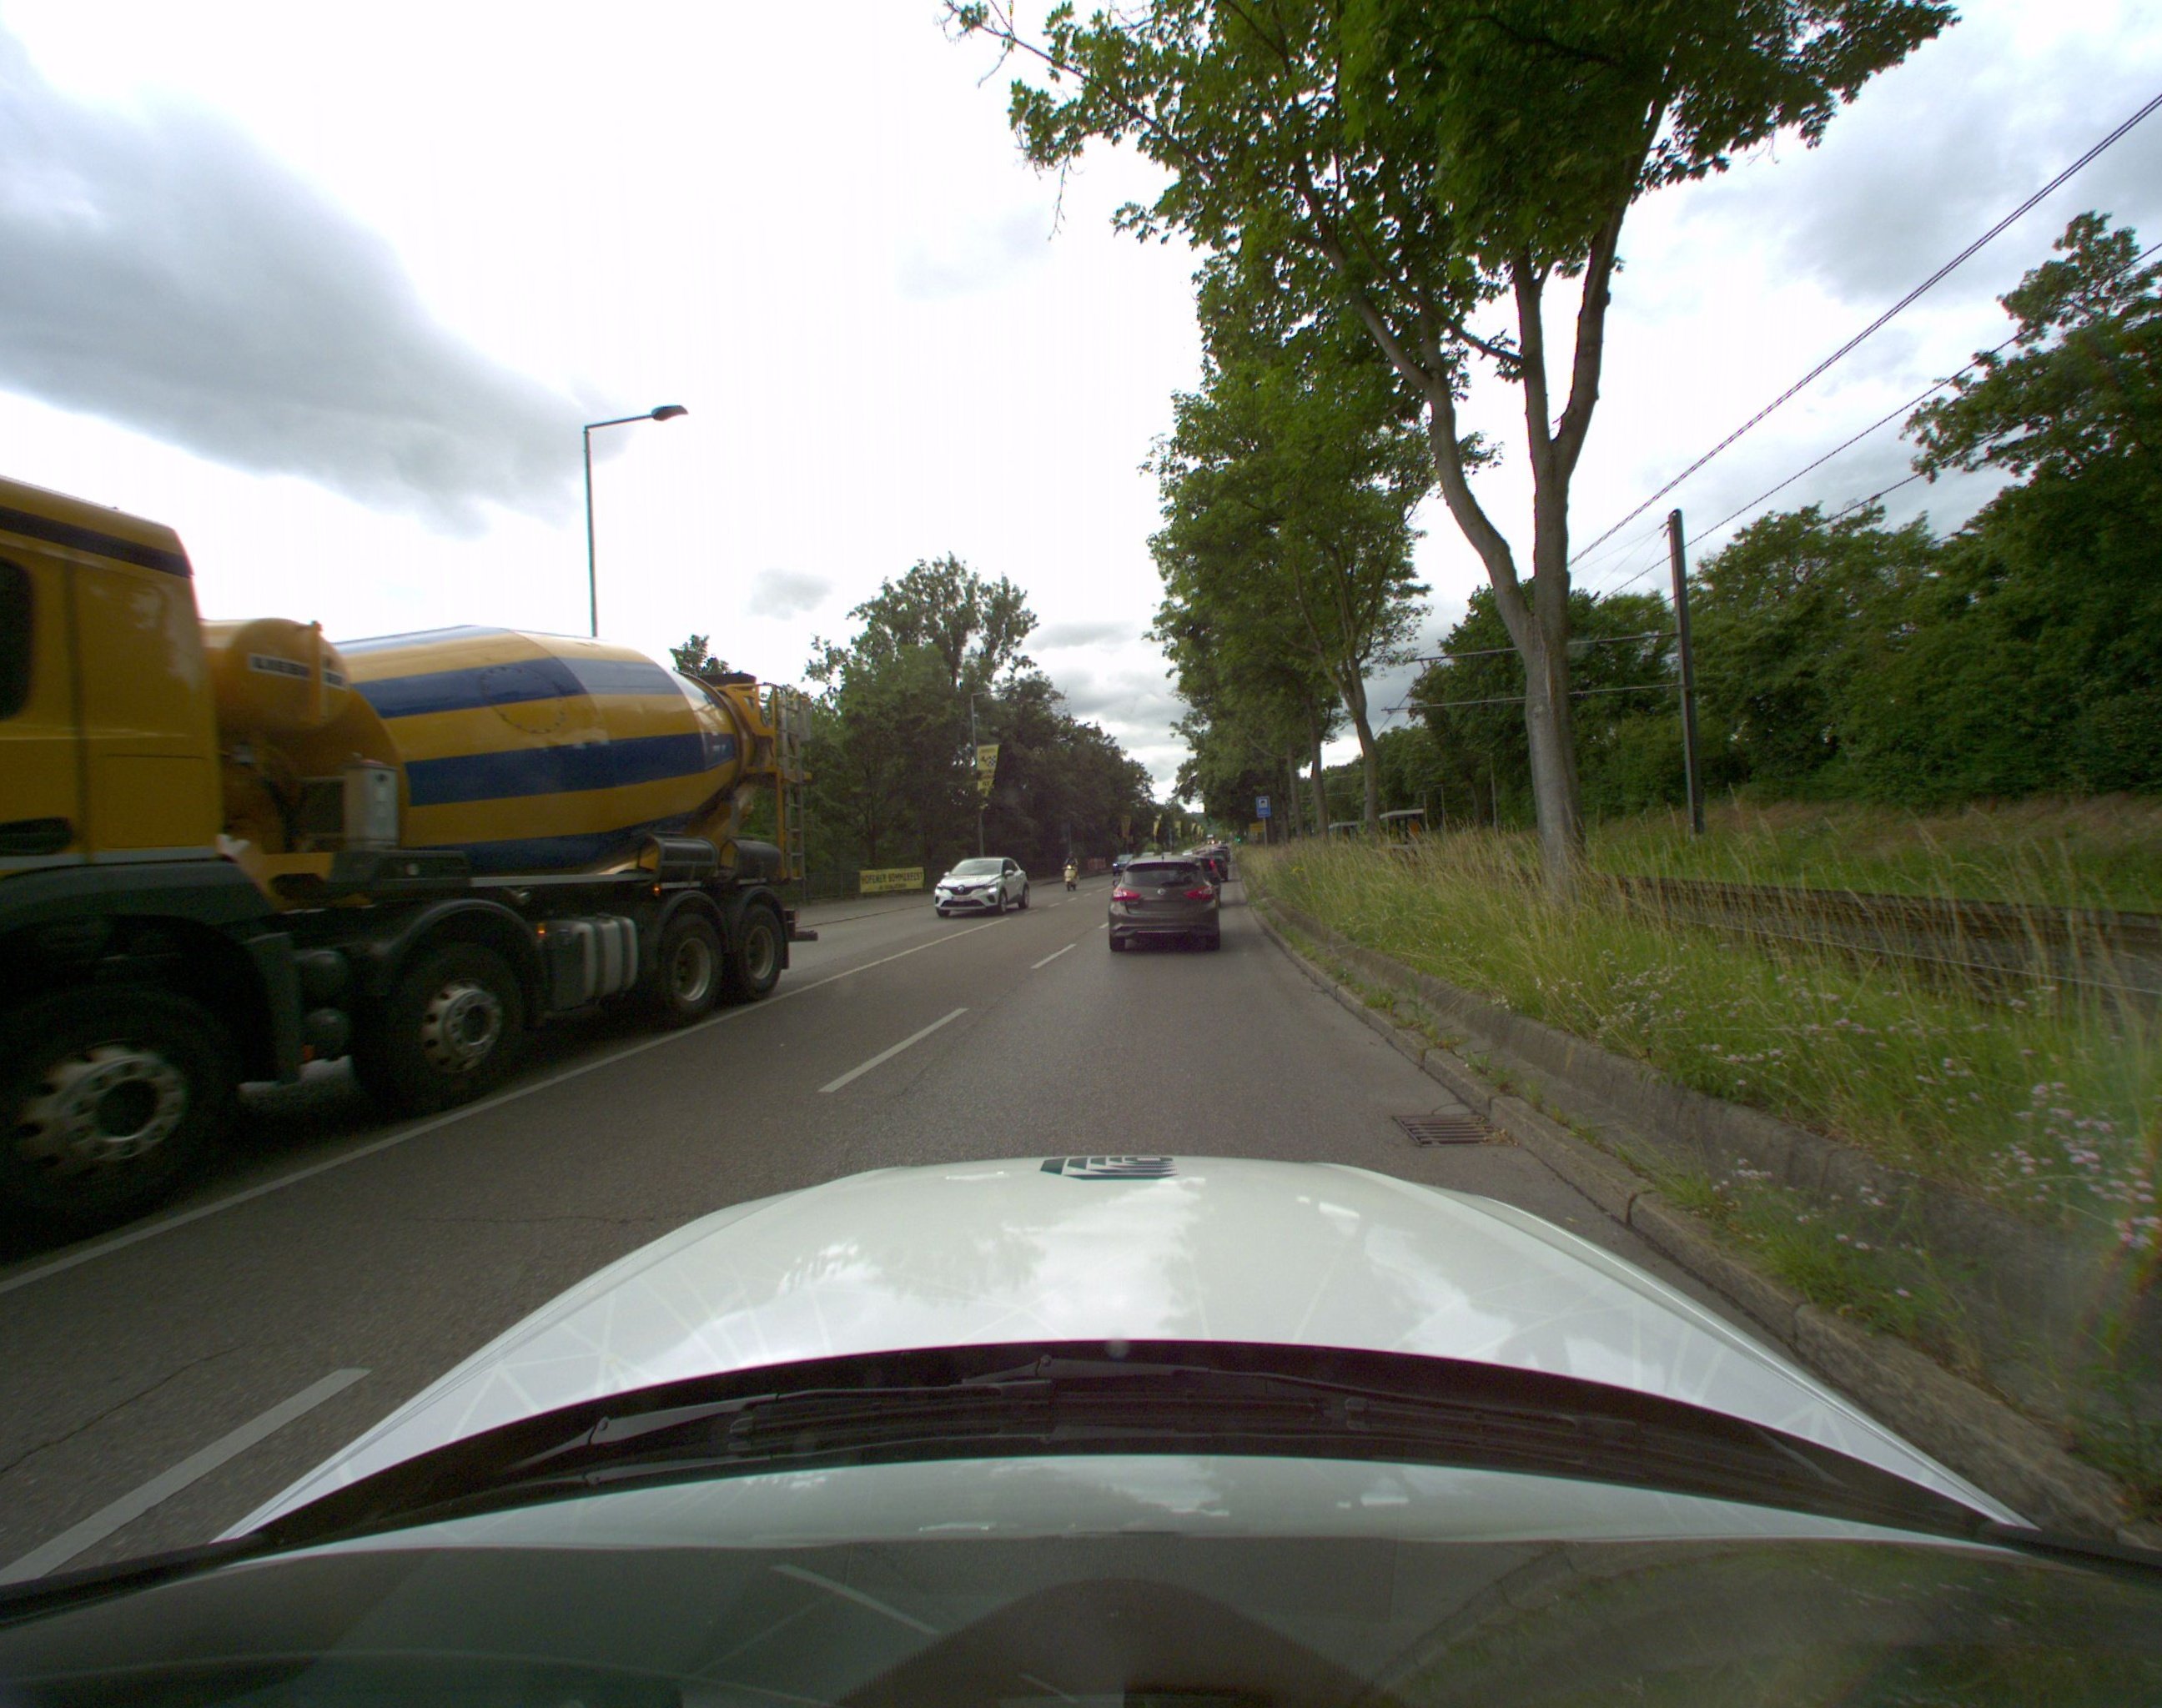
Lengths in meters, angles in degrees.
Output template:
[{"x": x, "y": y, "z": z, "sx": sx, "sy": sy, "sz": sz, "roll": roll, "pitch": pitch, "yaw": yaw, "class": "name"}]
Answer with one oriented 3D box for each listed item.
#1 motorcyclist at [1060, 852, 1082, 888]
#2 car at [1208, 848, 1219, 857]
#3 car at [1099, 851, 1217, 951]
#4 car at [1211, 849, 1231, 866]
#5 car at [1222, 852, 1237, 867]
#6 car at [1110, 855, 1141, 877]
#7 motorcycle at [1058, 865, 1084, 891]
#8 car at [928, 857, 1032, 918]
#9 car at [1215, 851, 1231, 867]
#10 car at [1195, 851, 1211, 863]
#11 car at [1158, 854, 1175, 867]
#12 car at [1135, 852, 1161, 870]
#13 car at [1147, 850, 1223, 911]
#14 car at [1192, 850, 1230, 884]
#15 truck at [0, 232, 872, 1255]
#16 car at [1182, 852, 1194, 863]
[{"x": -0.442, "y": 0.696, "z": 35.793, "sx": 0.740, "sy": 1.539, "sz": 0.793, "roll": -2, "pitch": 0, "yaw": 12, "class": "motorcyclist"}, {"x": 22.435, "y": -0.247, "z": 137.871, "sx": 1.708, "sy": 1.401, "sz": 3.735, "roll": -3, "pitch": -3, "yaw": 9, "class": "car"}, {"x": 1.331, "y": 0.771, "z": 14.375, "sx": 1.766, "sy": 1.494, "sz": 4.005, "roll": -1, "pitch": -1, "yaw": 5, "class": "car"}, {"x": 13.728, "y": 0.339, "z": 79.738, "sx": 1.793, "sy": 1.540, "sz": 4.011, "roll": -1, "pitch": -1, "yaw": 11, "class": "car"}, {"x": 20.453, "y": 0.738, "z": 112.069, "sx": 1.879, "sy": 2.014, "sz": 4.012, "roll": -2, "pitch": -1, "yaw": 11, "class": "car"}, {"x": 3.312, "y": 0.930, "z": 60.133, "sx": 1.710, "sy": 1.442, "sz": 4.010, "roll": -3, "pitch": -3, "yaw": 10, "class": "car"}, {"x": -0.433, "y": 1.037, "z": 35.783, "sx": 0.740, "sy": 1.033, "sz": 1.894, "roll": -2, "pitch": 0, "yaw": 12, "class": "motorcycle"}, {"x": -2.692, "y": 0.865, "z": 22.697, "sx": 1.756, "sy": 1.479, "sz": 4.011, "roll": -2, "pitch": 0, "yaw": 9, "class": "car"}, {"x": 16.175, "y": 0.585, "z": 92.992, "sx": 1.708, "sy": 1.693, "sz": 4.010, "roll": -3, "pitch": -3, "yaw": 9, "class": "car"}, {"x": 16.942, "y": 0.434, "z": 112.887, "sx": 1.839, "sy": 1.486, "sz": 4.434, "roll": -3, "pitch": -2, "yaw": 11, "class": "car"}, {"x": 10.427, "y": 0.777, "z": 99.408, "sx": 1.742, "sy": 1.420, "sz": 4.010, "roll": -3, "pitch": -3, "yaw": 9, "class": "car"}, {"x": 5.984, "y": 0.644, "z": 72.853, "sx": 1.806, "sy": 1.462, "sz": 4.012, "roll": -3, "pitch": 0, "yaw": 11, "class": "car"}, {"x": 2.930, "y": 0.747, "z": 23.741, "sx": 1.885, "sy": 1.574, "sz": 4.003, "roll": -2, "pitch": -2, "yaw": 3, "class": "car"}, {"x": 6.312, "y": 0.630, "z": 39.918, "sx": 1.570, "sy": 1.538, "sz": 4.007, "roll": -3, "pitch": -1, "yaw": 6, "class": "car"}, {"x": -5.020, "y": -0.398, "z": 7.158, "sx": 2.641, "sy": 3.939, "sz": 10.129, "roll": -2, "pitch": 0, "yaw": 6, "class": "truck"}, {"x": 17.823, "y": 0.632, "z": 135.478, "sx": 1.708, "sy": 1.693, "sz": 3.735, "roll": -3, "pitch": -3, "yaw": 9, "class": "car"}]
